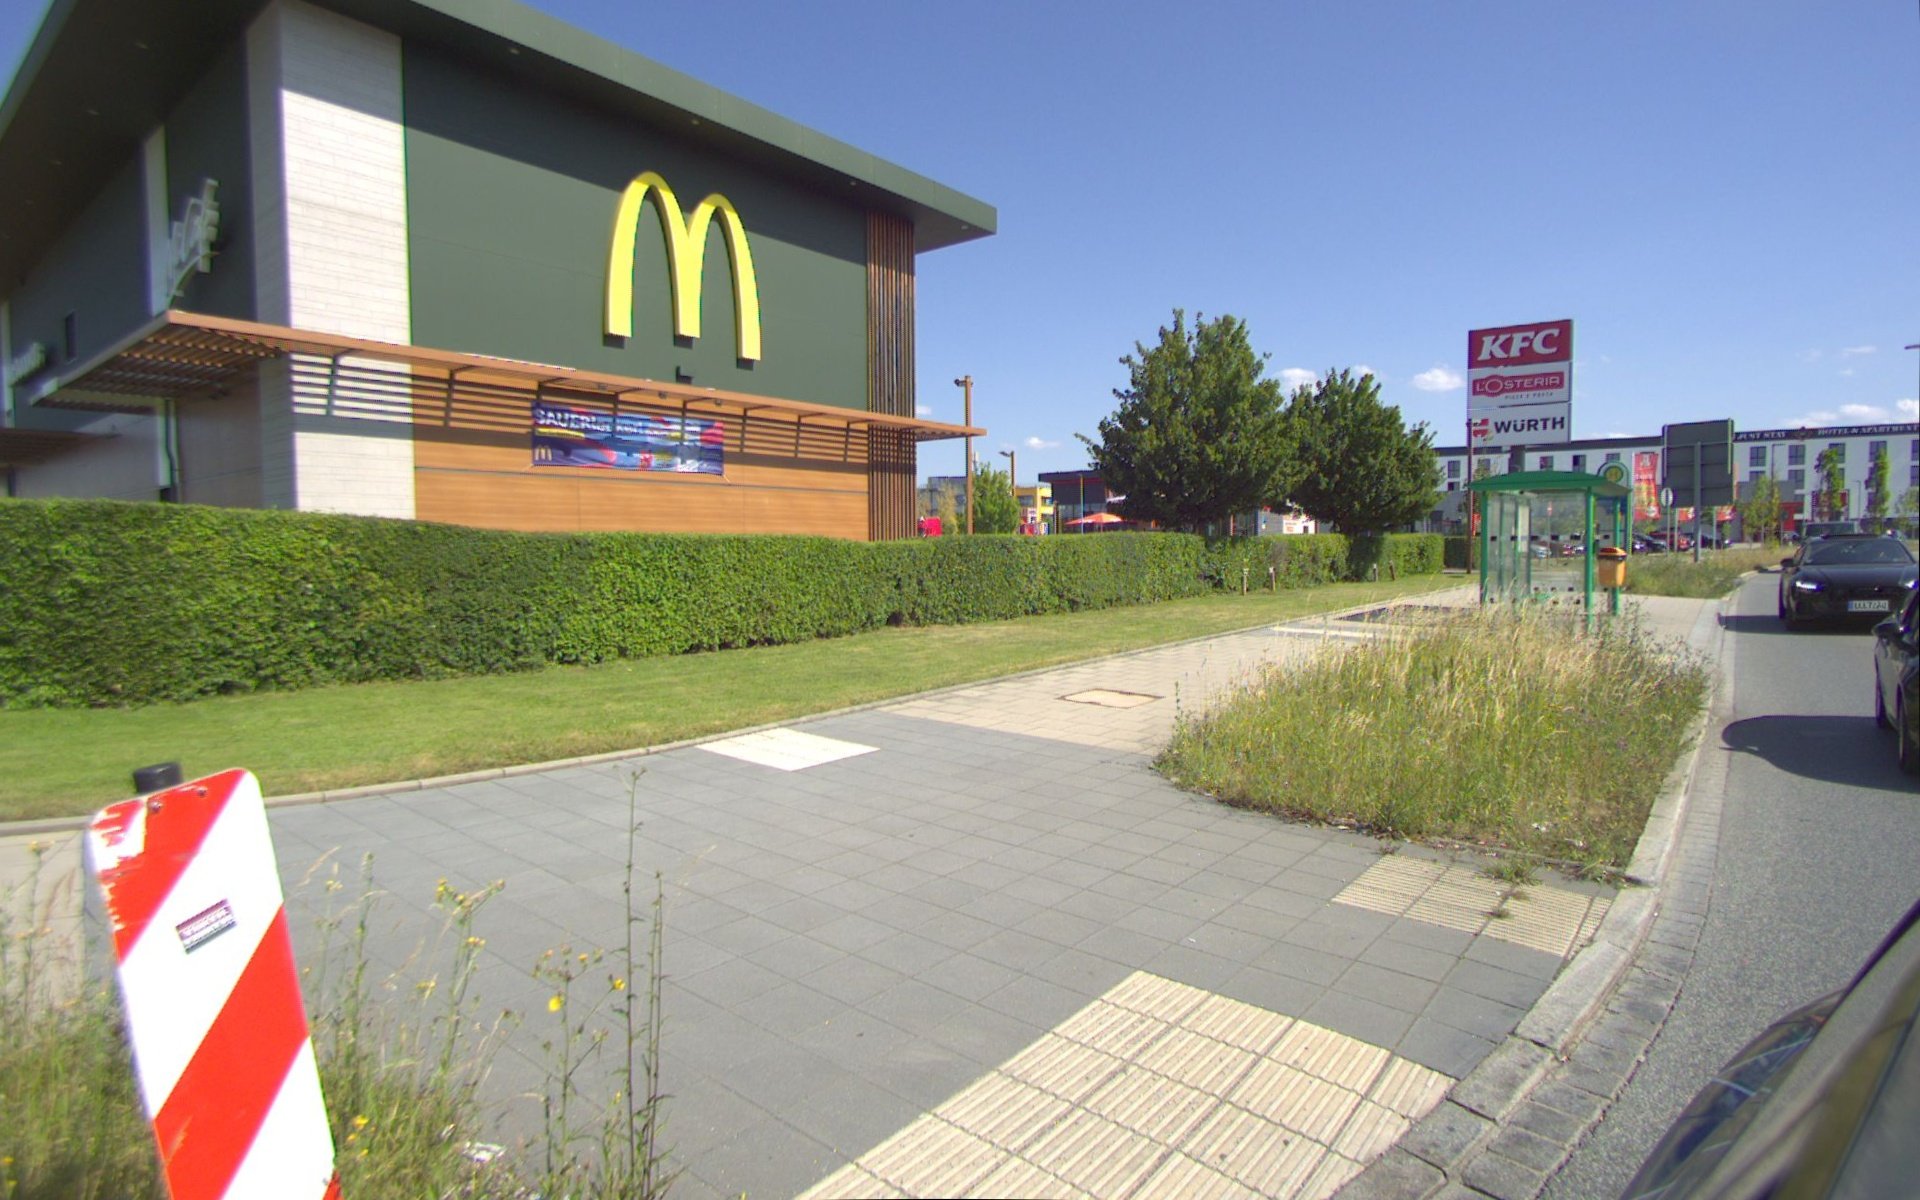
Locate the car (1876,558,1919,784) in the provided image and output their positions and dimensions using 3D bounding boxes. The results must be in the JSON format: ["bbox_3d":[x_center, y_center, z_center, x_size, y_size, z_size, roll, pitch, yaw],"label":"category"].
[{"bbox_3d":[8.259,0.406,7.623,1.855,1.486,3.943,-1,1,40],"label":"car"}]

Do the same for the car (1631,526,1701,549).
[{"bbox_3d":[56.077,-4.967,80.410,1.789,1.783,4.190,-2,3,-33],"label":"car"}]

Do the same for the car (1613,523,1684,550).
[{"bbox_3d":[53.615,-4.911,78.843,1.898,2.038,4.185,-3,4,-38],"label":"car"}]

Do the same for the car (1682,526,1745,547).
[{"bbox_3d":[62.150,-5.252,83.484,1.725,1.639,3.824,-3,4,-37],"label":"car"}]

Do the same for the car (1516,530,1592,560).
[{"bbox_3d":[41.635,-3.848,71.057,1.897,2.038,4.188,-3,3,-35],"label":"car"}]

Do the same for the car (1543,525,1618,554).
[{"bbox_3d":[44.403,-4.337,72.530,1.898,2.038,4.187,-3,4,-36],"label":"car"}]

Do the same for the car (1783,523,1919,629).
[{"bbox_3d":[16.301,-0.480,18.427,1.855,1.709,3.942,-2,2,41],"label":"car"}]

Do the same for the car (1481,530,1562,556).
[{"bbox_3d":[37.873,-3.834,68.305,1.902,1.672,4.433,-3,4,-43],"label":"car"}]

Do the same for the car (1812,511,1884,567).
[{"bbox_3d":[36.079,-2.487,41.158,2.072,2.073,4.615,-2,2,41],"label":"car"}]

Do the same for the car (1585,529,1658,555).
[{"bbox_3d":[49.547,-4.315,75.881,1.768,1.880,4.191,-2,3,-32],"label":"car"}]

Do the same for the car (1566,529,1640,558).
[{"bbox_3d":[47.386,-4.160,74.681,1.898,2.038,4.187,-3,4,-36],"label":"car"}]
